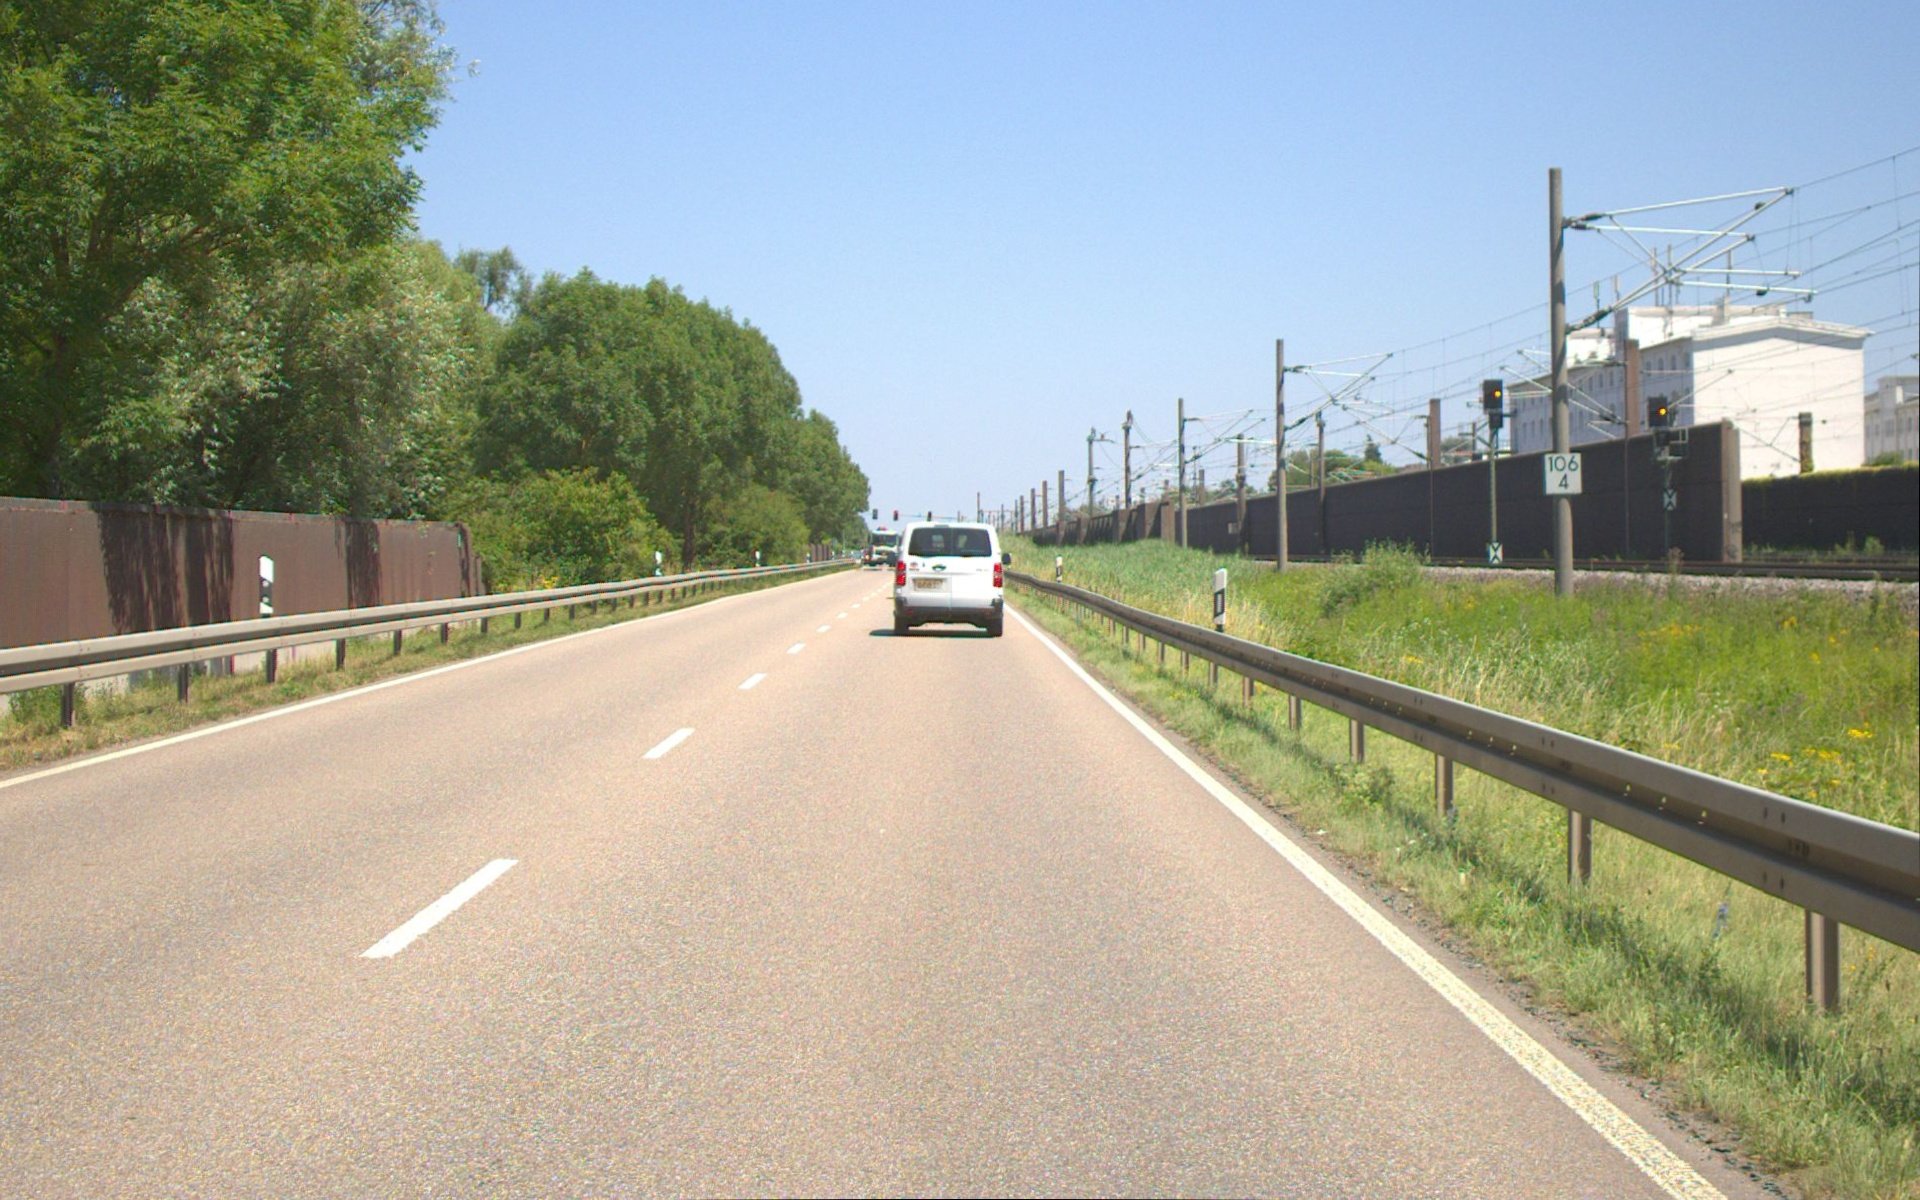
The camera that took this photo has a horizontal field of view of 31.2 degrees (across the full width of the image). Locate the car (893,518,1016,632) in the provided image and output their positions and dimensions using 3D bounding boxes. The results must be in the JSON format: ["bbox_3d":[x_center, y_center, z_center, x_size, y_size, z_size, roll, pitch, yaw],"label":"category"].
[{"bbox_3d":[-0.105,-0.453,59.165,1.993,1.843,4.000,2,1,0],"label":"car"}]

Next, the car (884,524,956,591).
[{"bbox_3d":[-1.159,-1.249,99.566,1.993,1.843,4.000,2,1,0],"label":"car"}]
